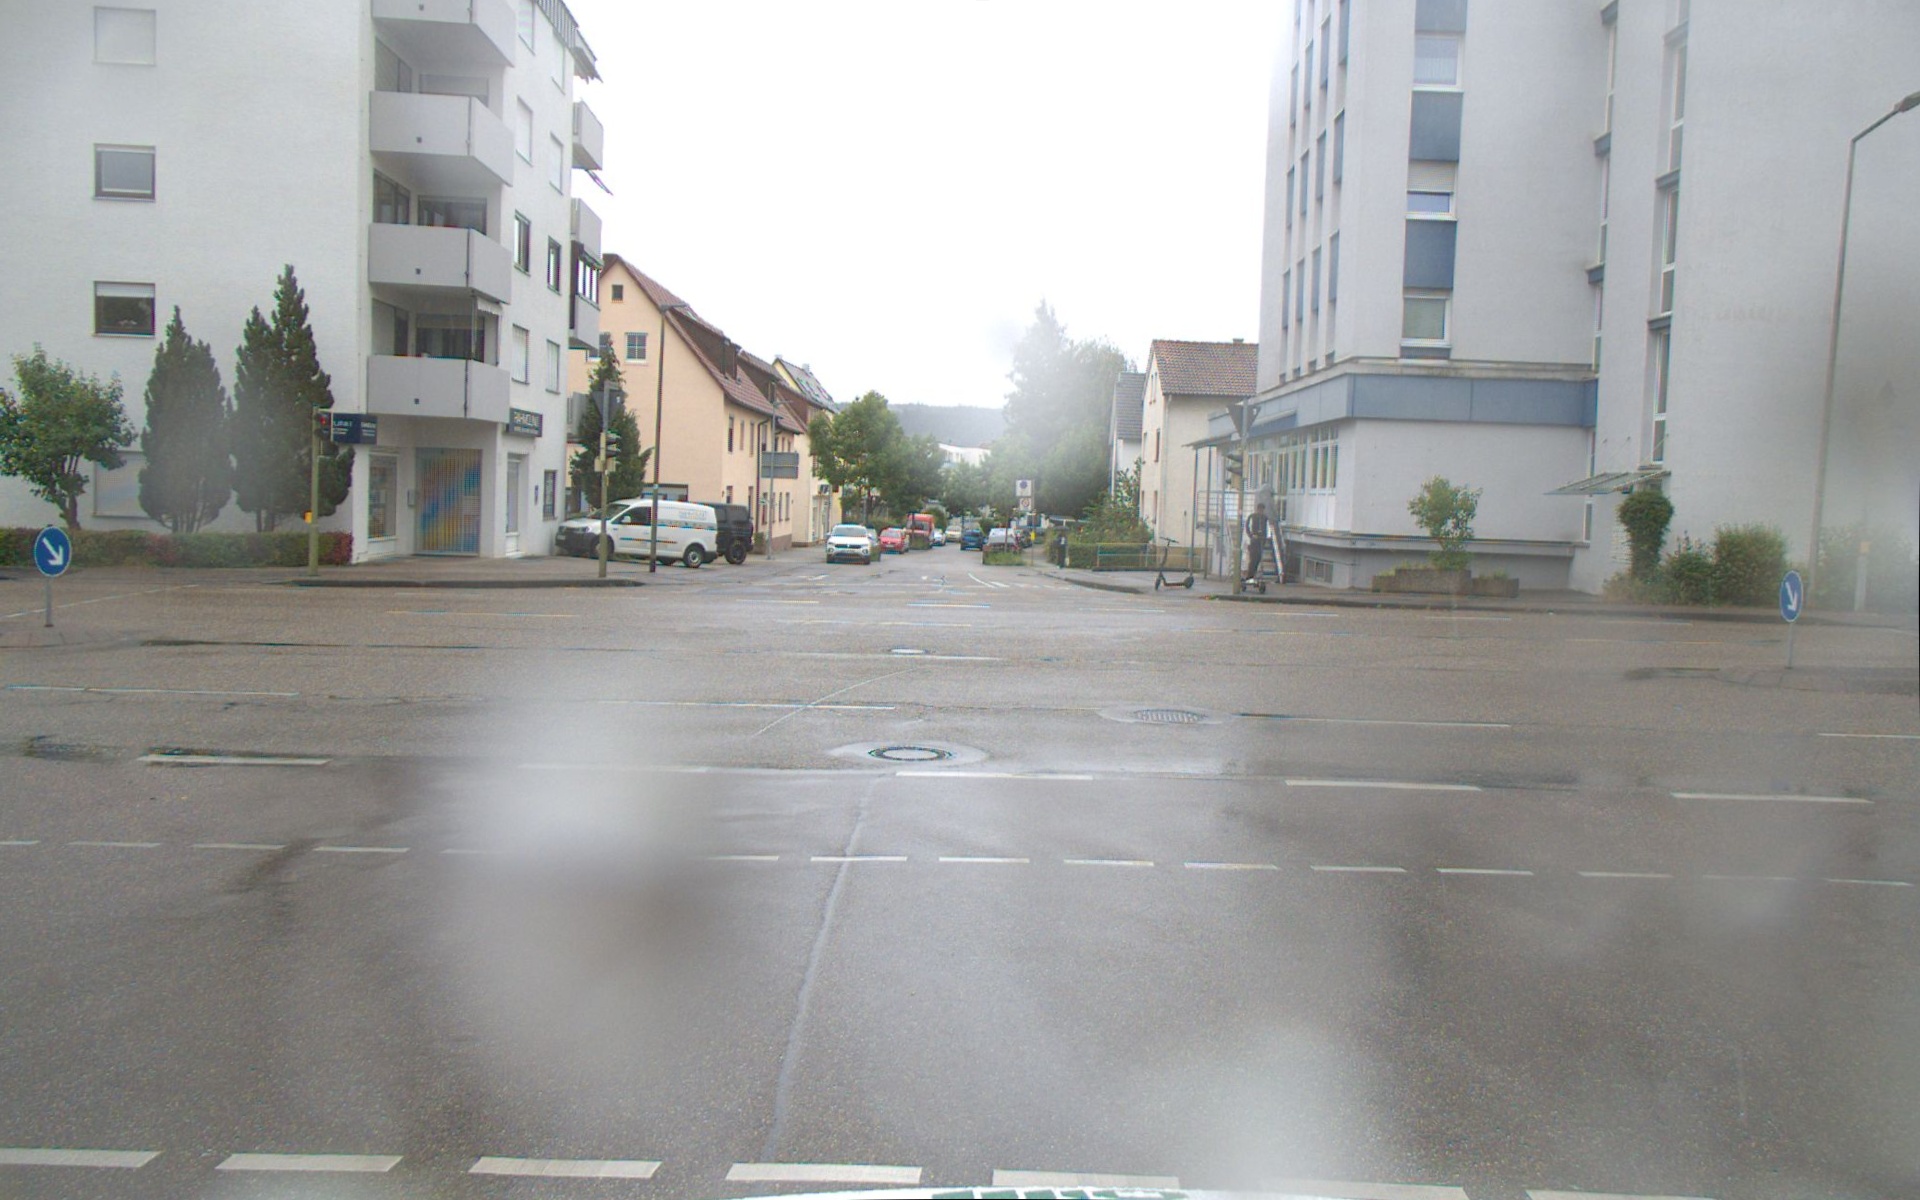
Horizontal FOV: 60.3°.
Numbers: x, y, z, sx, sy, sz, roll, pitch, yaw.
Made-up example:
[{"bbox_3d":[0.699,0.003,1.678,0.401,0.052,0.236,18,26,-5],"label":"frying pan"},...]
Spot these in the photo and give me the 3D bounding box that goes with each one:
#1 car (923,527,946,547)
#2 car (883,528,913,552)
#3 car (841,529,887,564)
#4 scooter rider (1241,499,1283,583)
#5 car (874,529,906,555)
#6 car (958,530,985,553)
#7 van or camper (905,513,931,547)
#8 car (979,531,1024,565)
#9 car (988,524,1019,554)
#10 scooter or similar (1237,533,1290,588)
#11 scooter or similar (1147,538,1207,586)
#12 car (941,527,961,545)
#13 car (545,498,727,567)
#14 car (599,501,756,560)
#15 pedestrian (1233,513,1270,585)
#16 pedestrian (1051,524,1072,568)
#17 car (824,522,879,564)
[{"bbox_3d":[-2.149,-5.283,138.613,1.862,1.586,4.192,0,2,0],"label":"car"},{"bbox_3d":[-4.236,-4.083,112.769,1.862,1.586,4.192,0,2,0],"label":"car"},{"bbox_3d":[-4.587,-2.565,79.314,1.953,1.654,4.192,0,2,0],"label":"car"},{"bbox_3d":[6.673,-1.305,36.556,0.738,1.827,0.672,0,2,-8],"label":"scooter rider"},{"bbox_3d":[-4.391,-3.673,104.363,1.862,1.586,4.192,0,2,0],"label":"car"},{"bbox_3d":[0.901,-4.466,126.496,1.952,1.713,4.002,1,2,3],"label":"car"},{"bbox_3d":[-3.181,-5.356,126.875,1.862,2.557,4.239,0,2,0],"label":"van or camper"},{"bbox_3d":[2.007,-2.590,81.675,2.102,1.616,4.129,0,2,0],"label":"car"},{"bbox_3d":[2.695,-3.819,103.624,1.862,1.775,4.192,0,2,0],"label":"car"},{"bbox_3d":[6.691,-0.869,36.527,0.743,1.192,1.312,0,2,-9],"label":"scooter or similar"},{"bbox_3d":[5.071,-0.889,38.701,1.243,1.100,0.876,0,2,-5],"label":"scooter or similar"},{"bbox_3d":[-0.811,-5.981,154.622,1.862,1.586,4.192,0,2,0],"label":"car"},{"bbox_3d":[-9.260,-1.909,47.486,4.796,1.867,1.972,-1,2,-39],"label":"car"},{"bbox_3d":[-9.259,-2.260,54.470,4.796,1.867,1.972,-1,2,-39],"label":"car"},{"bbox_3d":[7.002,-1.228,39.718,0.635,1.675,0.525,4,1,-7],"label":"pedestrian"},{"bbox_3d":[4.444,-2.349,72.343,0.731,1.880,0.525,4,1,-4],"label":"pedestrian"},{"bbox_3d":[-4.435,-2.342,67.913,1.953,1.654,4.192,0,2,0],"label":"car"}]
